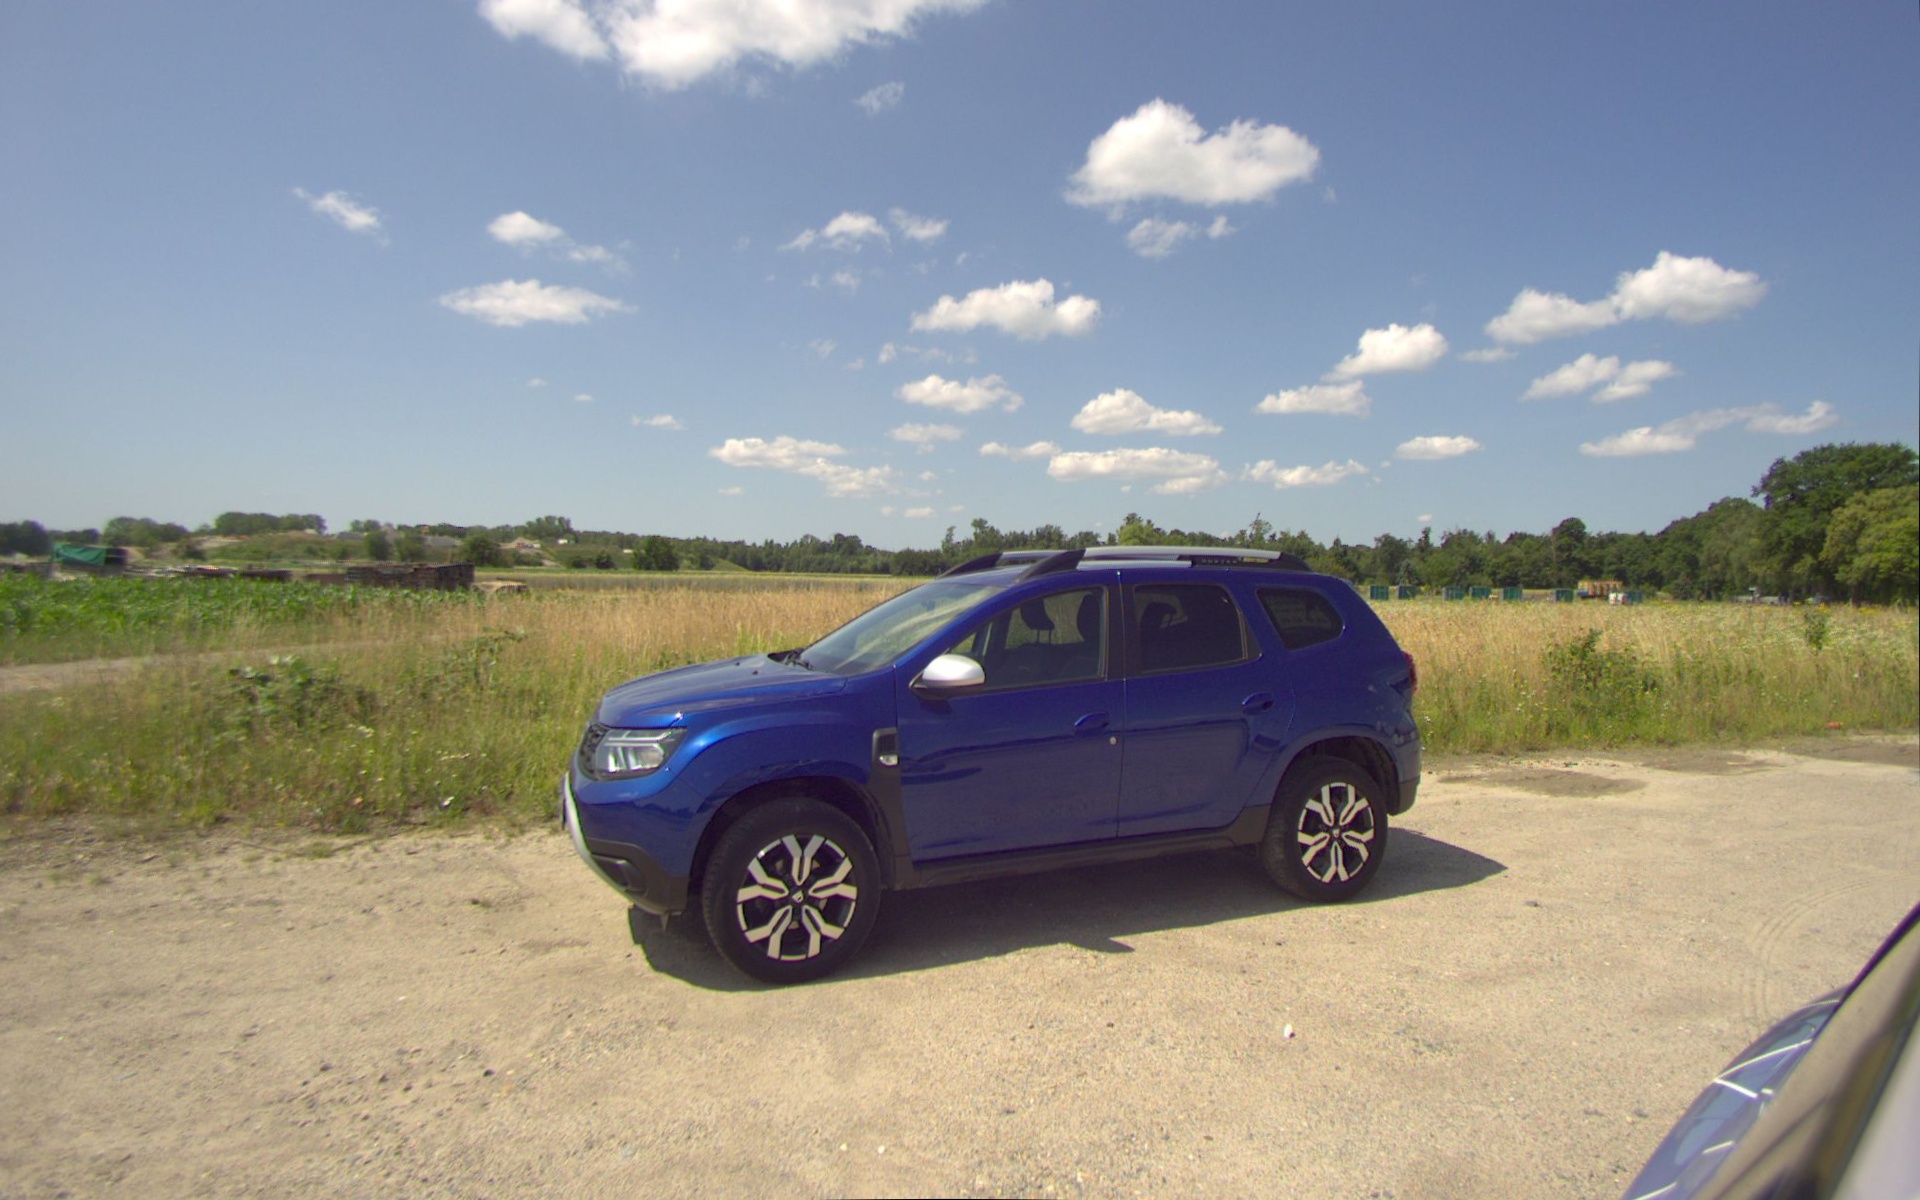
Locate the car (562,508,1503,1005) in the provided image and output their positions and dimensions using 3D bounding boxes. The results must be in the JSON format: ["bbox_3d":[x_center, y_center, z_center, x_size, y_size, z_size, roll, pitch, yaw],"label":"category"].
[{"bbox_3d":[0.343,0.500,5.110,4.365,1.682,1.868,0,1,-22],"label":"car"}]
